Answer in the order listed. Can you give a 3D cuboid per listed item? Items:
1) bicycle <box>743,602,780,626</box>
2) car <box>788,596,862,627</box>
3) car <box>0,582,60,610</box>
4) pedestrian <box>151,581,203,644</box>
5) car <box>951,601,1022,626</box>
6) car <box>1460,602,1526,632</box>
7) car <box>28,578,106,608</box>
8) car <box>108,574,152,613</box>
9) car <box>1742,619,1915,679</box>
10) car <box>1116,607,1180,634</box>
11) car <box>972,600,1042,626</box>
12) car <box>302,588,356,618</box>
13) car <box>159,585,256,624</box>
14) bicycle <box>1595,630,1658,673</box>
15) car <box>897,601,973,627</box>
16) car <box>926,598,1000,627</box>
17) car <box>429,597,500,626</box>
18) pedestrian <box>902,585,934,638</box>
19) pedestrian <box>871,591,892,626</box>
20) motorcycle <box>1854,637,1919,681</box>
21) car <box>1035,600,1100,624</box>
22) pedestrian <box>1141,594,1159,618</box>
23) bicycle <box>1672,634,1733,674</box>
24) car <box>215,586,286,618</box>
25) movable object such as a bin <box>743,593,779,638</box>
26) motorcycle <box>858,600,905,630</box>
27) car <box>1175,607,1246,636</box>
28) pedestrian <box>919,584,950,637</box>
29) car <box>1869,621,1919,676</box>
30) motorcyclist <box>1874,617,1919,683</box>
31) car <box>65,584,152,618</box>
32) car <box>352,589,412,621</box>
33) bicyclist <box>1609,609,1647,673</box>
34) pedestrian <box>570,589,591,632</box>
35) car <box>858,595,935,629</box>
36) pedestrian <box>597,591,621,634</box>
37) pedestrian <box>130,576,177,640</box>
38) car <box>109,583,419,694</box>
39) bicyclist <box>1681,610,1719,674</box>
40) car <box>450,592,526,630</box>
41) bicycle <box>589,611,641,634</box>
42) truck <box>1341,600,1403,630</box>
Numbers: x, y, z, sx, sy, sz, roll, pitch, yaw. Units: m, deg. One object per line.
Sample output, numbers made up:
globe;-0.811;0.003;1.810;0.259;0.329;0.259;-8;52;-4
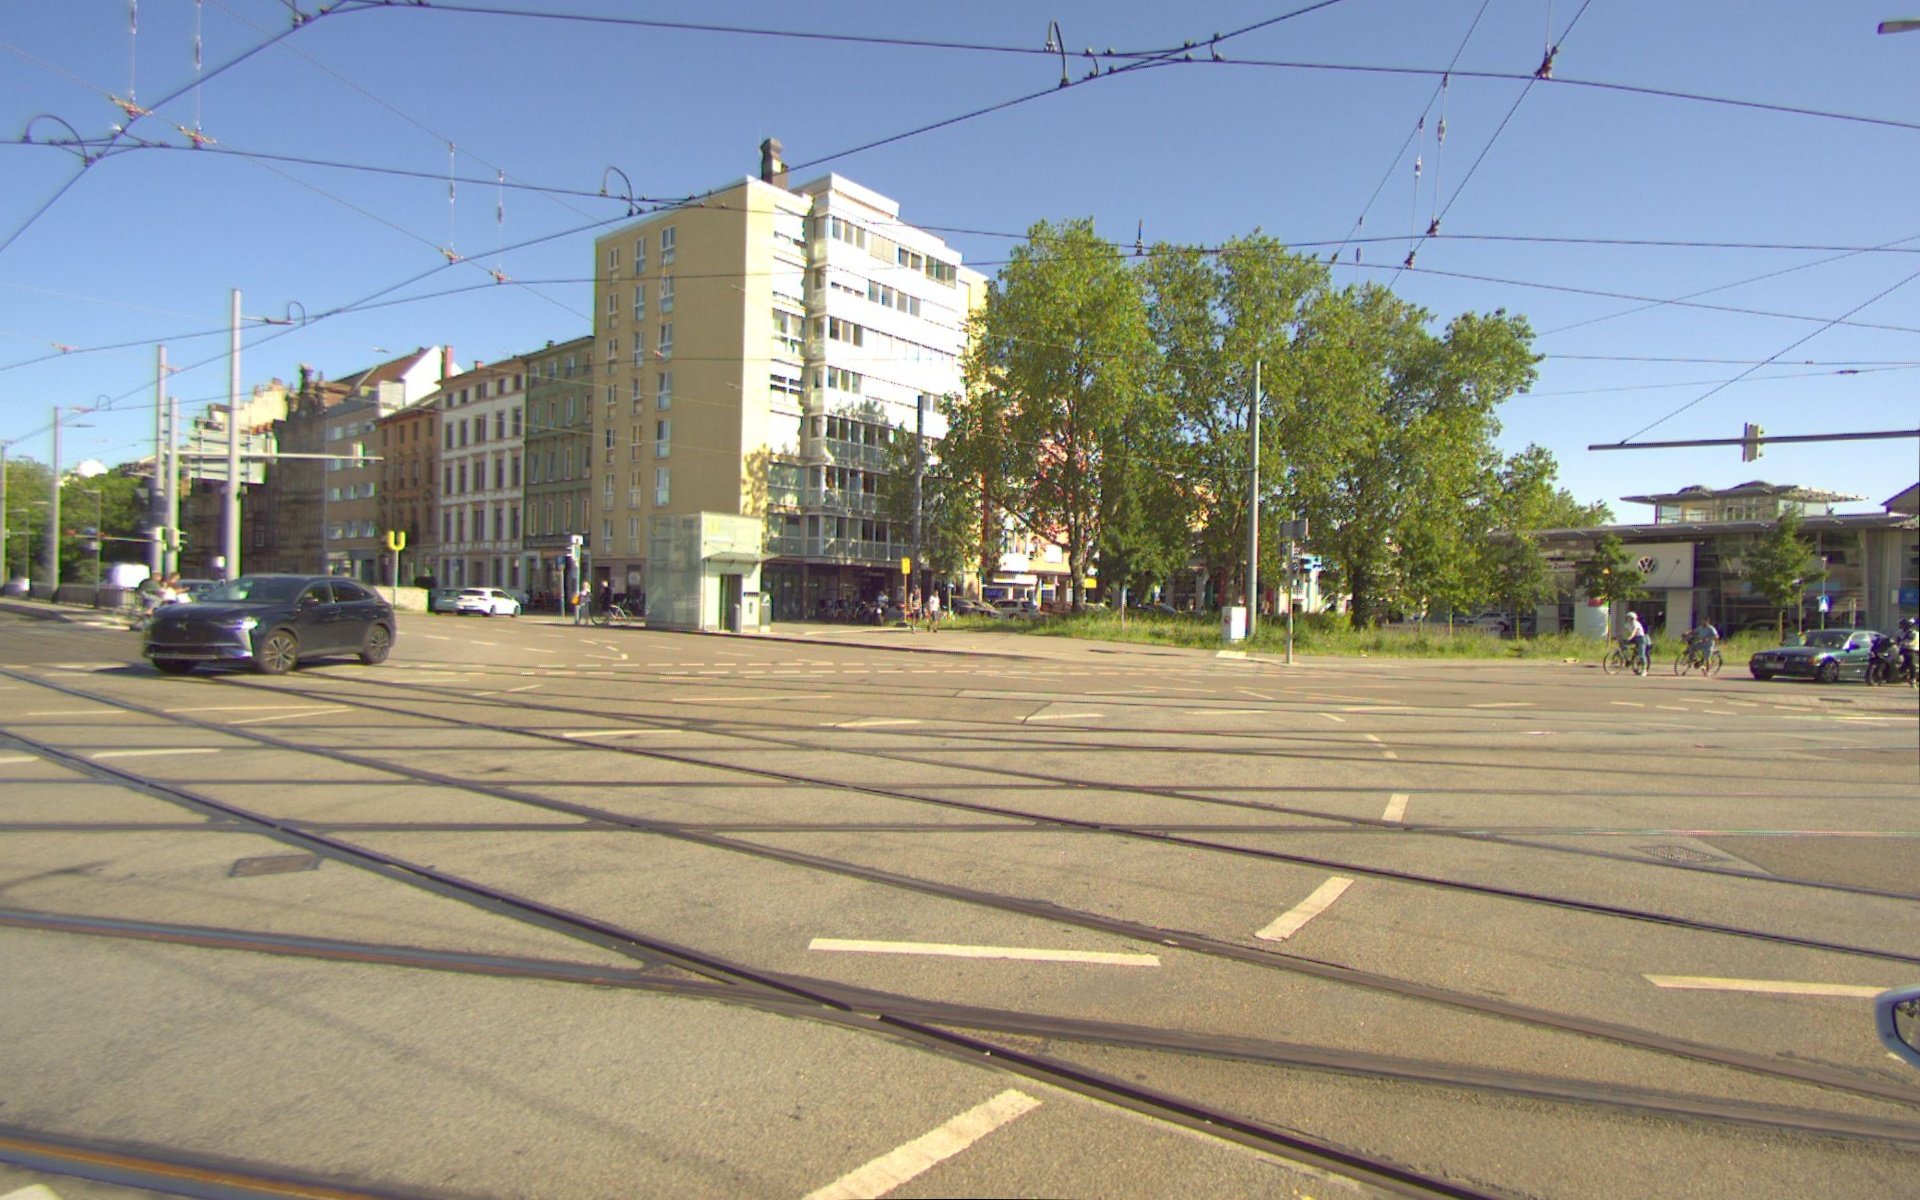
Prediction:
bicycle;-10.574;0.731;53.585;0.610;1.233;1.938;4;2;41
car;-7.139;0.583;52.933;3.942;1.519;1.733;1;1;42
car;-49.002;-0.204;52.613;3.933;1.379;1.908;1;1;34
pedestrian;-23.462;0.364;30.125;0.980;1.824;0.988;2;2;-23
car;1.601;0.818;61.417;3.934;1.407;1.993;1;1;35
car;40.883;1.265;77.077;1.982;2.041;3.957;1;2;-37
car;-42.739;-0.346;48.070;3.933;1.379;1.908;1;1;34
car;-72.479;-0.591;87.721;4.844;3.149;1.992;3;2;38
car;22.928;1.282;26.536;3.907;1.498;1.649;1;-1;-17
car;12.624;1.393;67.586;1.983;1.652;3.815;3;-1;-38
car;2.954;0.810;63.285;3.934;1.519;1.994;1;1;35
car;-40.402;0.190;64.285;3.943;1.688;1.989;4;2;43
car;-29.267;0.166;39.046;4.525;1.346;1.790;2;0;37
bicycle;18.969;1.453;28.584;1.725;1.200;0.537;0;0;-18
car;-1.440;0.787;57.429;3.934;1.407;1.993;1;1;35
car;0.152;0.722;59.233;3.934;1.586;1.993;1;1;35
car;-26.875;0.582;54.583;1.781;1.379;4.000;2;1;1
pedestrian;-1.670;0.452;39.594;0.863;2.057;0.846;1;2;-44
pedestrian;-3.728;0.405;47.949;0.744;1.643;0.653;3;2;21
motorcycle;22.910;1.448;24.731;1.718;1.061;0.518;1;0;-16
car;7.370;0.820;68.880;3.934;1.519;1.994;1;1;35
pedestrian;16.684;0.503;88.088;1.089;2.041;1.175;3;2;31
bicycle;20.989;1.521;28.406;1.628;1.088;0.537;0;0;-18
car;-33.045;0.097;46.724;4.535;1.346;1.787;2;0;43
movable object such as a bin;-7.702;0.584;38.907;0.976;1.656;0.933;3;2;39
motorcycle;-3.614;0.690;45.917;1.272;1.193;2.952;2;2;-23
car;15.419;1.305;61.954;1.983;1.652;3.815;3;-1;-38
pedestrian;-1.019;0.405;40.205;0.863;2.057;0.846;1;2;-44
car;28.371;1.418;28.658;3.936;1.451;1.802;2;1;-17
motorcyclist;23.260;1.231;24.821;0.928;1.600;0.585;2;-1;-16
car;-36.574;0.018;43.112;3.933;1.379;1.908;1;1;34
car;-33.890;0.264;58.837;3.943;1.688;1.989;4;2;43
bicyclist;19.006;1.165;28.584;0.667;1.766;0.574;0;2;-17
pedestrian;-15.710;0.442;41.564;0.610;1.728;0.708;1;2;-39
car;-3.552;0.652;56.360;3.934;1.831;1.994;1;1;35
pedestrian;-14.289;0.519;40.901;0.710;1.728;0.608;1;2;-39
pedestrian;-25.015;0.243;31.175;0.982;1.929;0.986;1;2;-30
car;-11.738;0.587;17.453;2.004;1.598;4.631;2;0;2
bicyclist;20.889;1.172;28.351;0.591;1.766;0.573;-1;2;-17
car;-24.290;0.532;51.845;1.960;1.776;4.000;2;1;1
bicycle;-14.340;0.933;41.803;1.933;0.934;0.612;1;2;-41
truck;33.230;1.193;81.083;1.977;2.251;4.180;1;2;-31
